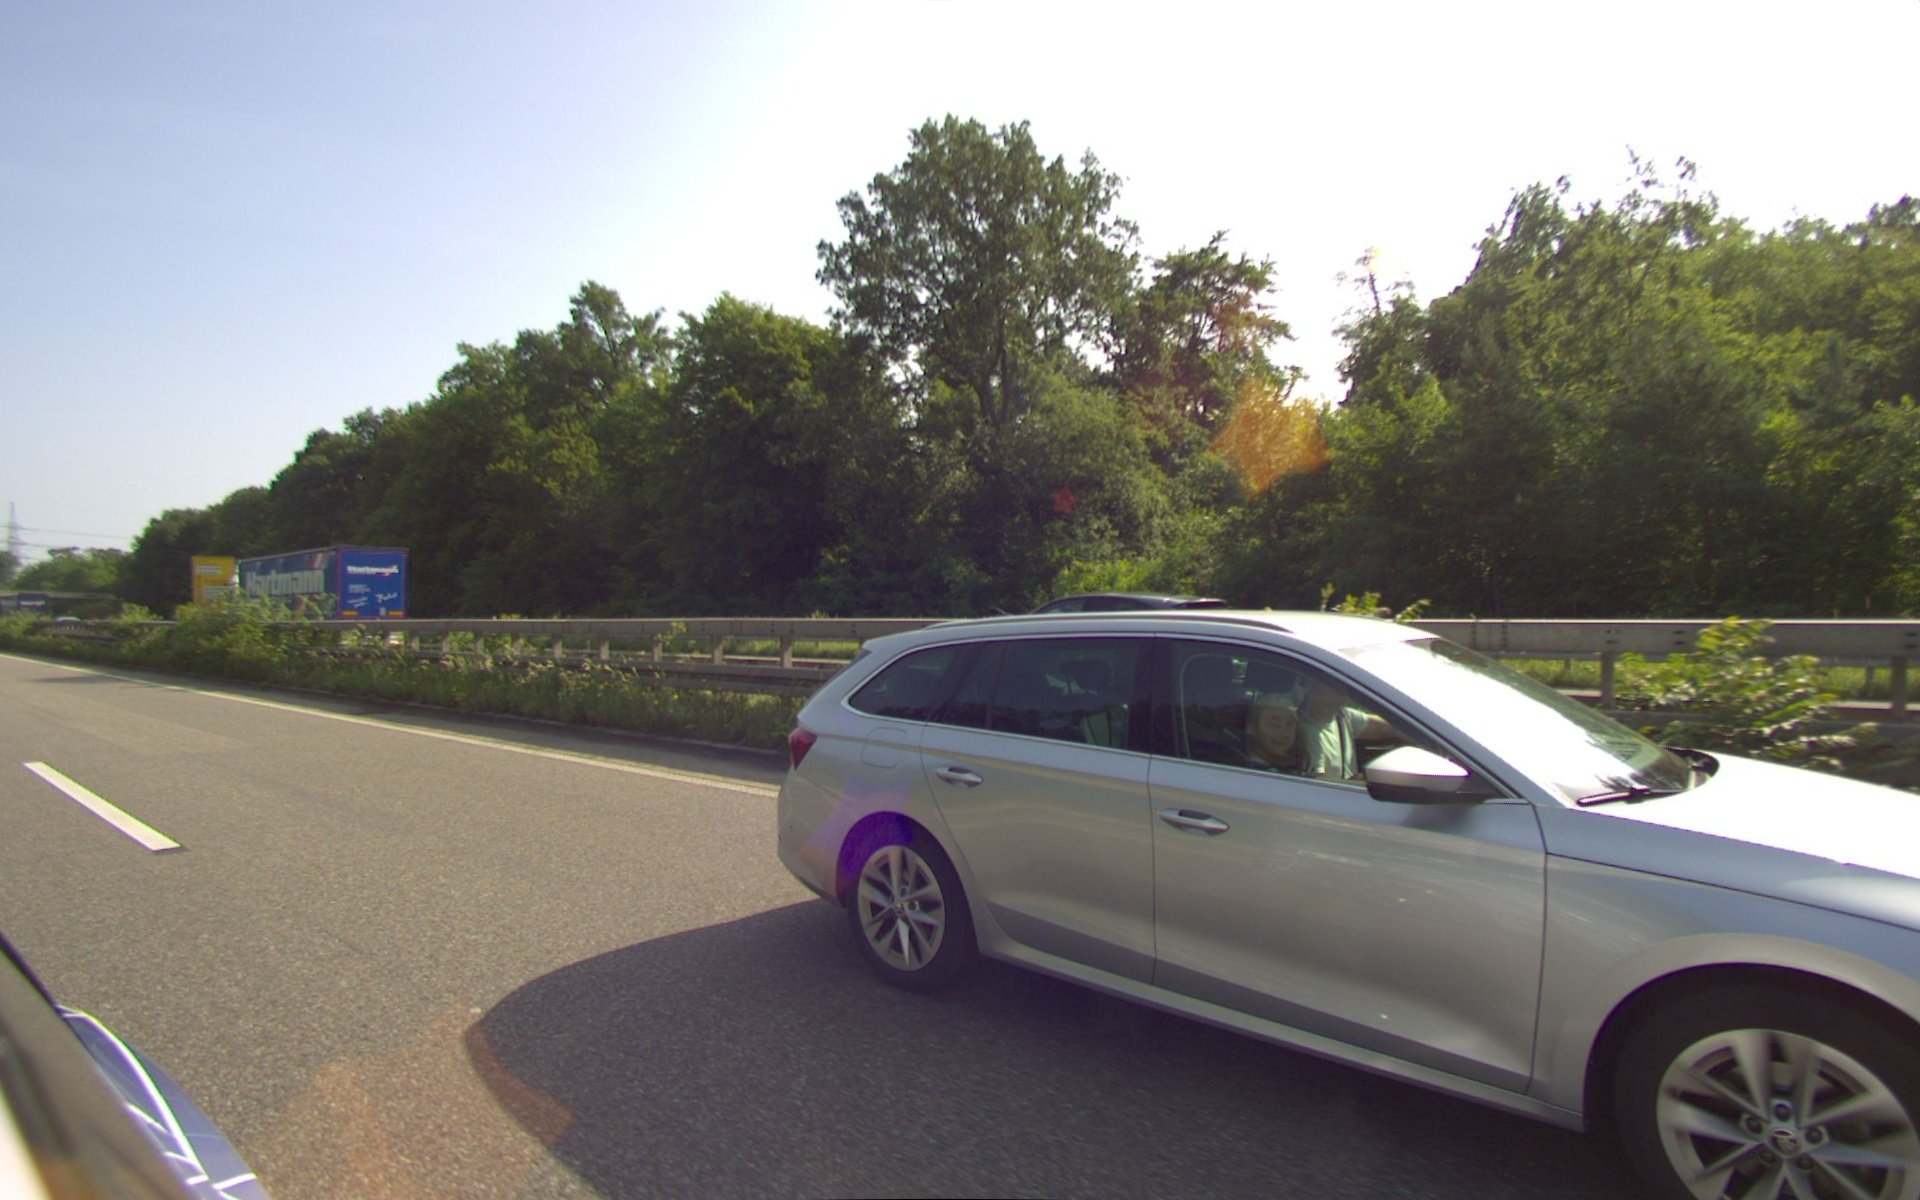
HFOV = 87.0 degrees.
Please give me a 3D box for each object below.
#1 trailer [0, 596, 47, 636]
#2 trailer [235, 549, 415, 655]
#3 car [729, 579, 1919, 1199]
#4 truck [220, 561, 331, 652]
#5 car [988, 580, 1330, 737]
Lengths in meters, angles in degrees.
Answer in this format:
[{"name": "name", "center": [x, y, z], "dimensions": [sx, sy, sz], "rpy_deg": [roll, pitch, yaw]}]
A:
[{"name": "trailer", "center": [-101.968, 1.821, 109.522], "dimensions": [14.308, 4.101, 2.935], "rpy_deg": [-1, -2, 41]}, {"name": "trailer", "center": [-27.848, 0.215, 43.929], "dimensions": [13.316, 4.039, 2.862], "rpy_deg": [-1, -3, 41]}, {"name": "car", "center": [1.533, 0.713, 3.426], "dimensions": [5.276, 1.449, 1.773], "rpy_deg": [-1, -1, 41]}, {"name": "truck", "center": [-32.602, 0.366, 48.115], "dimensions": [6.022, 4.063, 2.862], "rpy_deg": [-1, -3, 41]}, {"name": "car", "center": [2.316, 0.621, 12.221], "dimensions": [3.663, 1.599, 1.726], "rpy_deg": [-1, 0, 40]}]
